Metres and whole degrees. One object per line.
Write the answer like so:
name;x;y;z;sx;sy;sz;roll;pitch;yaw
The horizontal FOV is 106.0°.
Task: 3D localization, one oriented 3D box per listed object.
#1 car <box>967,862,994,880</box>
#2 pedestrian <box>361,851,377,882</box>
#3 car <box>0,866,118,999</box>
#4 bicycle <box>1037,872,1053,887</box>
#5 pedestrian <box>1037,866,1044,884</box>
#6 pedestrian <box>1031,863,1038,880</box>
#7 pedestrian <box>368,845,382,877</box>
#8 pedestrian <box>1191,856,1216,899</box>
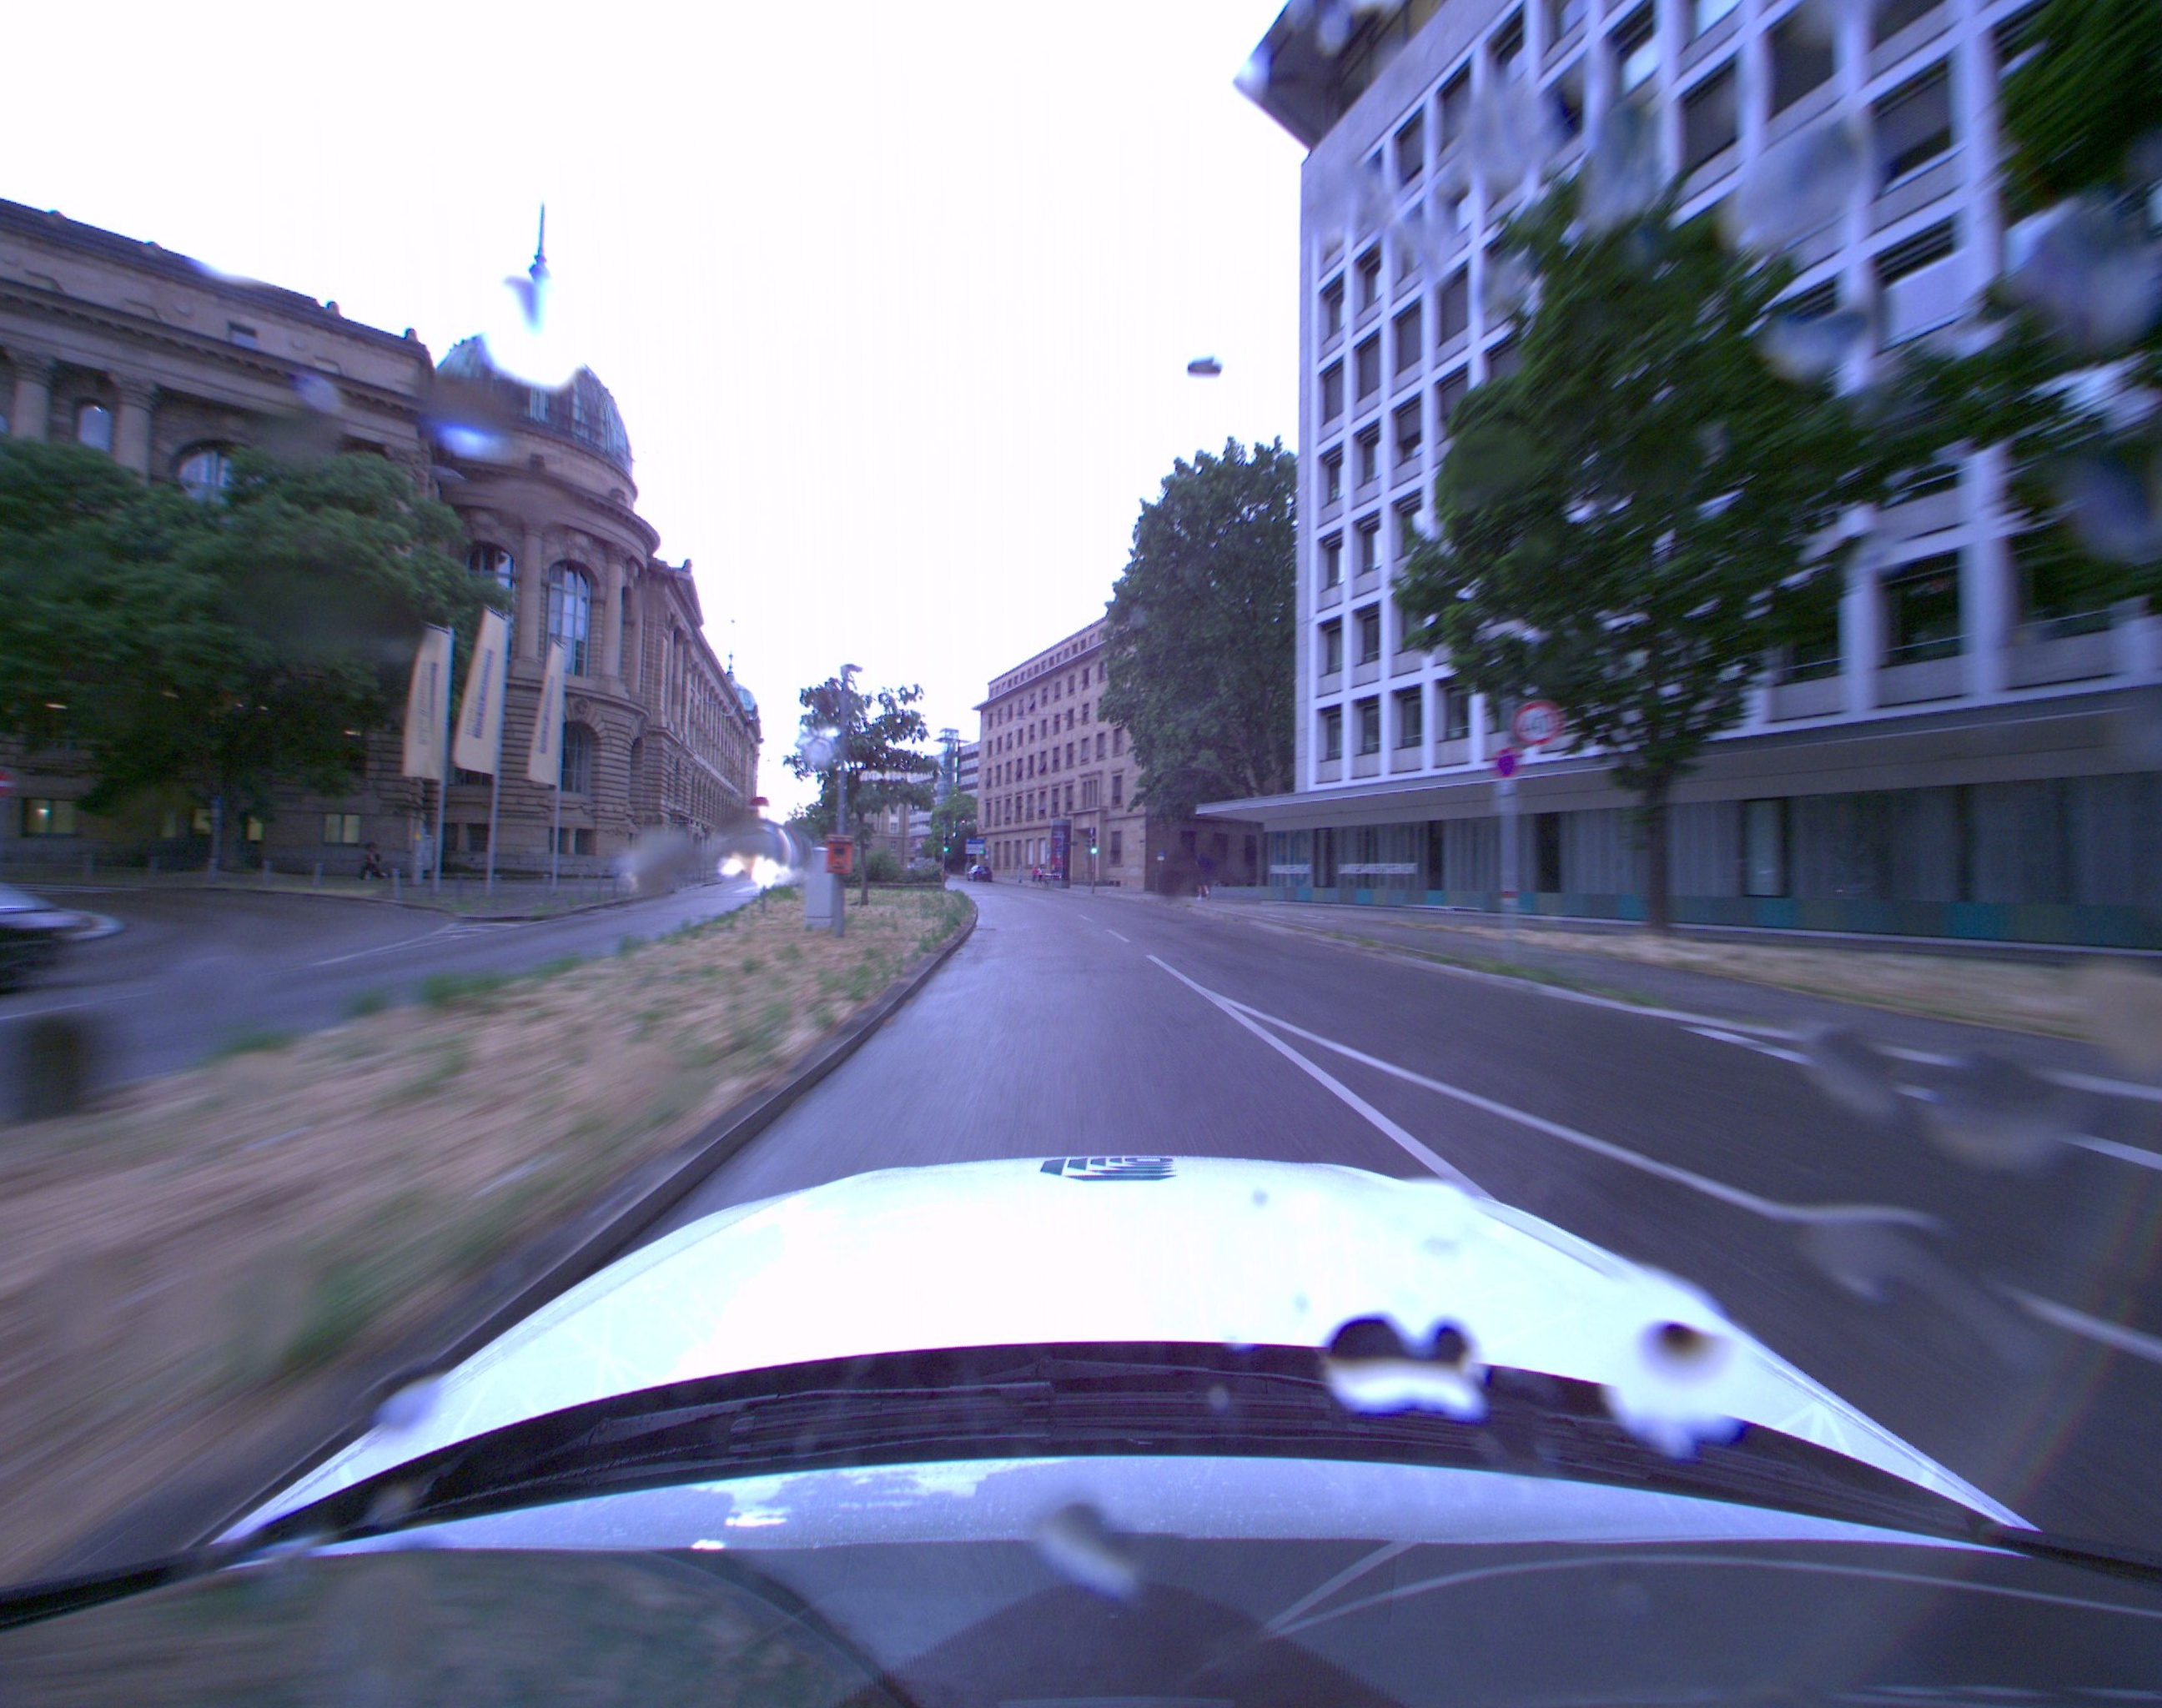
car;-10.003;1.687;81.174;1.774;1.619;4.130;2;-2;-19
pedestrian;-31.133;0.527;35.602;0.443;1.345;0.637;2;-1;-36
car;-12.791;0.864;8.042;1.999;1.493;4.811;0;-1;-19
bicycle;-2.427;1.697;54.658;0.490;1.012;1.915;2;-1;-20
pedestrian;-3.675;1.902;73.808;0.525;1.603;0.671;2;-2;-13
pedestrian;-4.186;1.551;73.430;0.525;1.492;0.670;2;-2;-17
pedestrian;-30.380;0.303;35.031;0.388;1.345;0.437;2;-1;-36
pedestrian;5.153;0.966;34.300;0.780;1.772;0.859;1;-1;-12
